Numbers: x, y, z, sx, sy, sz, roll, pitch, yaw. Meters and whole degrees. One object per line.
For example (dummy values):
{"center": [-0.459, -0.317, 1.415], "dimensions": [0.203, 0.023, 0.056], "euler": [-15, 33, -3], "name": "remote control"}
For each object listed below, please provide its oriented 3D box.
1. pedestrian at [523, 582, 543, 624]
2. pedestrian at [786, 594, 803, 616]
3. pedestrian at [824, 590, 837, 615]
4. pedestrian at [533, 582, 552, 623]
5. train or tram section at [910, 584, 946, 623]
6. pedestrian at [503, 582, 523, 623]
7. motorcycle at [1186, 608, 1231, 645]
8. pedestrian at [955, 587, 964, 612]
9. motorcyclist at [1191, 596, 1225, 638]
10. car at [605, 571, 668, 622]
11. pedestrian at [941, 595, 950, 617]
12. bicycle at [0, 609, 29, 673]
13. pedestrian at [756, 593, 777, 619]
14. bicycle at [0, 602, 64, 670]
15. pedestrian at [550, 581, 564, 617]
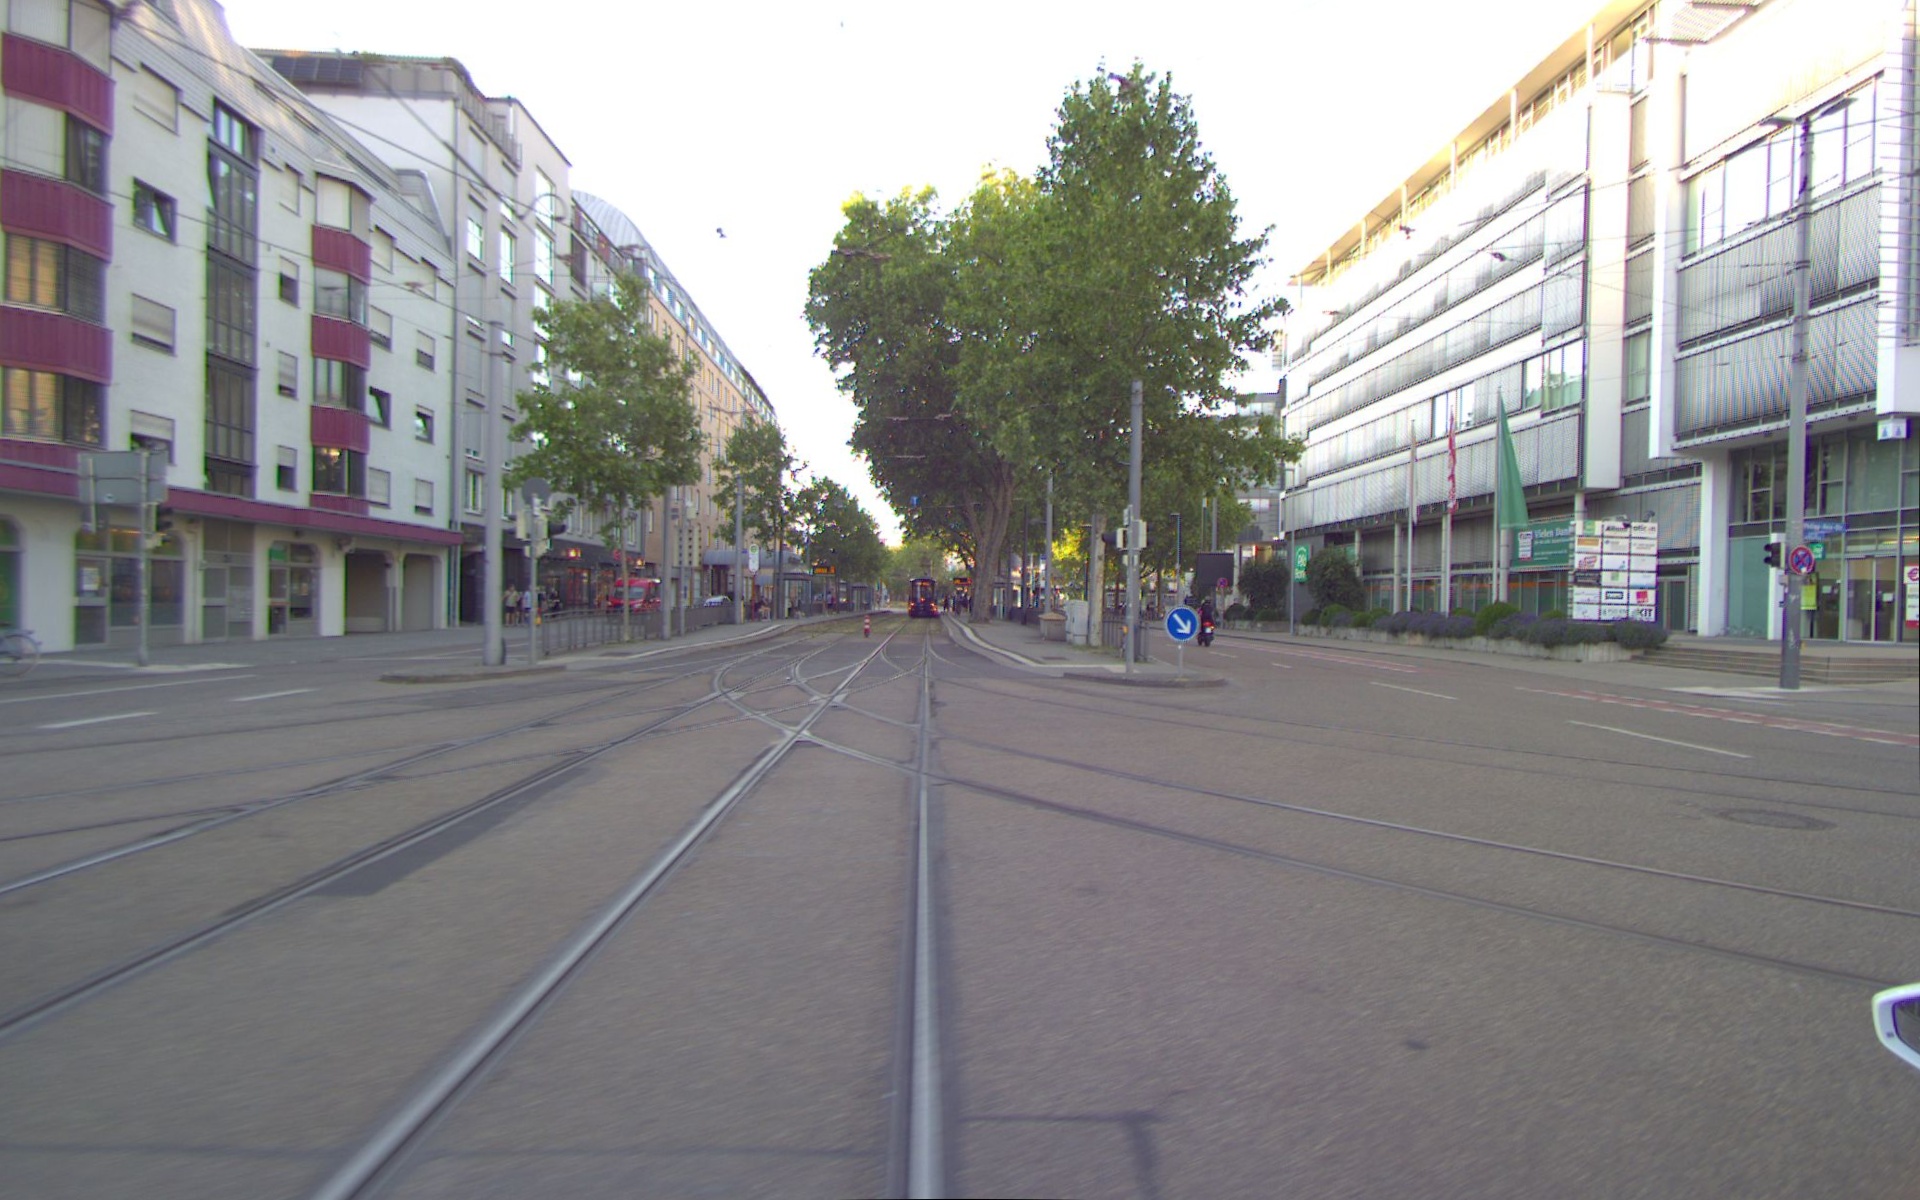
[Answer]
{"center": [-18.518, 0.138, 43.563], "dimensions": [0.642, 1.799, 0.547], "euler": [1, 1, -6], "name": "pedestrian"}
{"center": [-9.972, 0.298, 60.586], "dimensions": [0.764, 1.310, 0.733], "euler": [1, 0, 17], "name": "pedestrian"}
{"center": [-8.834, 0.141, 68.608], "dimensions": [0.744, 1.701, 0.833], "euler": [1, 0, -1], "name": "pedestrian"}
{"center": [-18.615, 0.097, 44.820], "dimensions": [0.642, 1.799, 0.547], "euler": [1, 1, -6], "name": "pedestrian"}
{"center": [-2.791, 0.298, 91.894], "dimensions": [2.995, 3.212, 13.489], "euler": [1, 0, -1], "name": "train or tram section"}
{"center": [-19.584, 0.109, 44.010], "dimensions": [0.642, 1.799, 0.547], "euler": [1, 1, -6], "name": "pedestrian"}
{"center": [9.081, 0.946, 36.842], "dimensions": [0.815, 1.256, 2.489], "euler": [1, 0, -6], "name": "motorcycle"}
{"center": [-0.039, -0.062, 79.321], "dimensions": [0.723, 1.924, 0.640], "euler": [1, 1, 1], "name": "pedestrian"}
{"center": [9.089, 0.609, 36.857], "dimensions": [0.815, 1.493, 1.206], "euler": [1, 0, -6], "name": "motorcyclist"}
{"center": [-17.518, -0.176, 54.639], "dimensions": [2.054, 2.585, 5.445], "euler": [1, 0, -5], "name": "car"}
{"center": [-1.276, 0.505, 89.376], "dimensions": [0.723, 1.924, 0.640], "euler": [1, 1, 1], "name": "pedestrian"}
{"center": [-15.776, 0.629, 15.823], "dimensions": [1.804, 0.970, 0.499], "euler": [1, 1, 2], "name": "bicycle"}
{"center": [-9.713, 0.286, 50.340], "dimensions": [0.764, 1.310, 0.733], "euler": [1, 0, 18], "name": "pedestrian"}
{"center": [-15.747, 0.567, 16.414], "dimensions": [1.804, 1.075, 0.499], "euler": [1, 1, 2], "name": "bicycle"}
{"center": [-20.265, -0.029, 50.556], "dimensions": [0.539, 1.799, 0.653], "euler": [1, 1, -13], "name": "pedestrian"}
